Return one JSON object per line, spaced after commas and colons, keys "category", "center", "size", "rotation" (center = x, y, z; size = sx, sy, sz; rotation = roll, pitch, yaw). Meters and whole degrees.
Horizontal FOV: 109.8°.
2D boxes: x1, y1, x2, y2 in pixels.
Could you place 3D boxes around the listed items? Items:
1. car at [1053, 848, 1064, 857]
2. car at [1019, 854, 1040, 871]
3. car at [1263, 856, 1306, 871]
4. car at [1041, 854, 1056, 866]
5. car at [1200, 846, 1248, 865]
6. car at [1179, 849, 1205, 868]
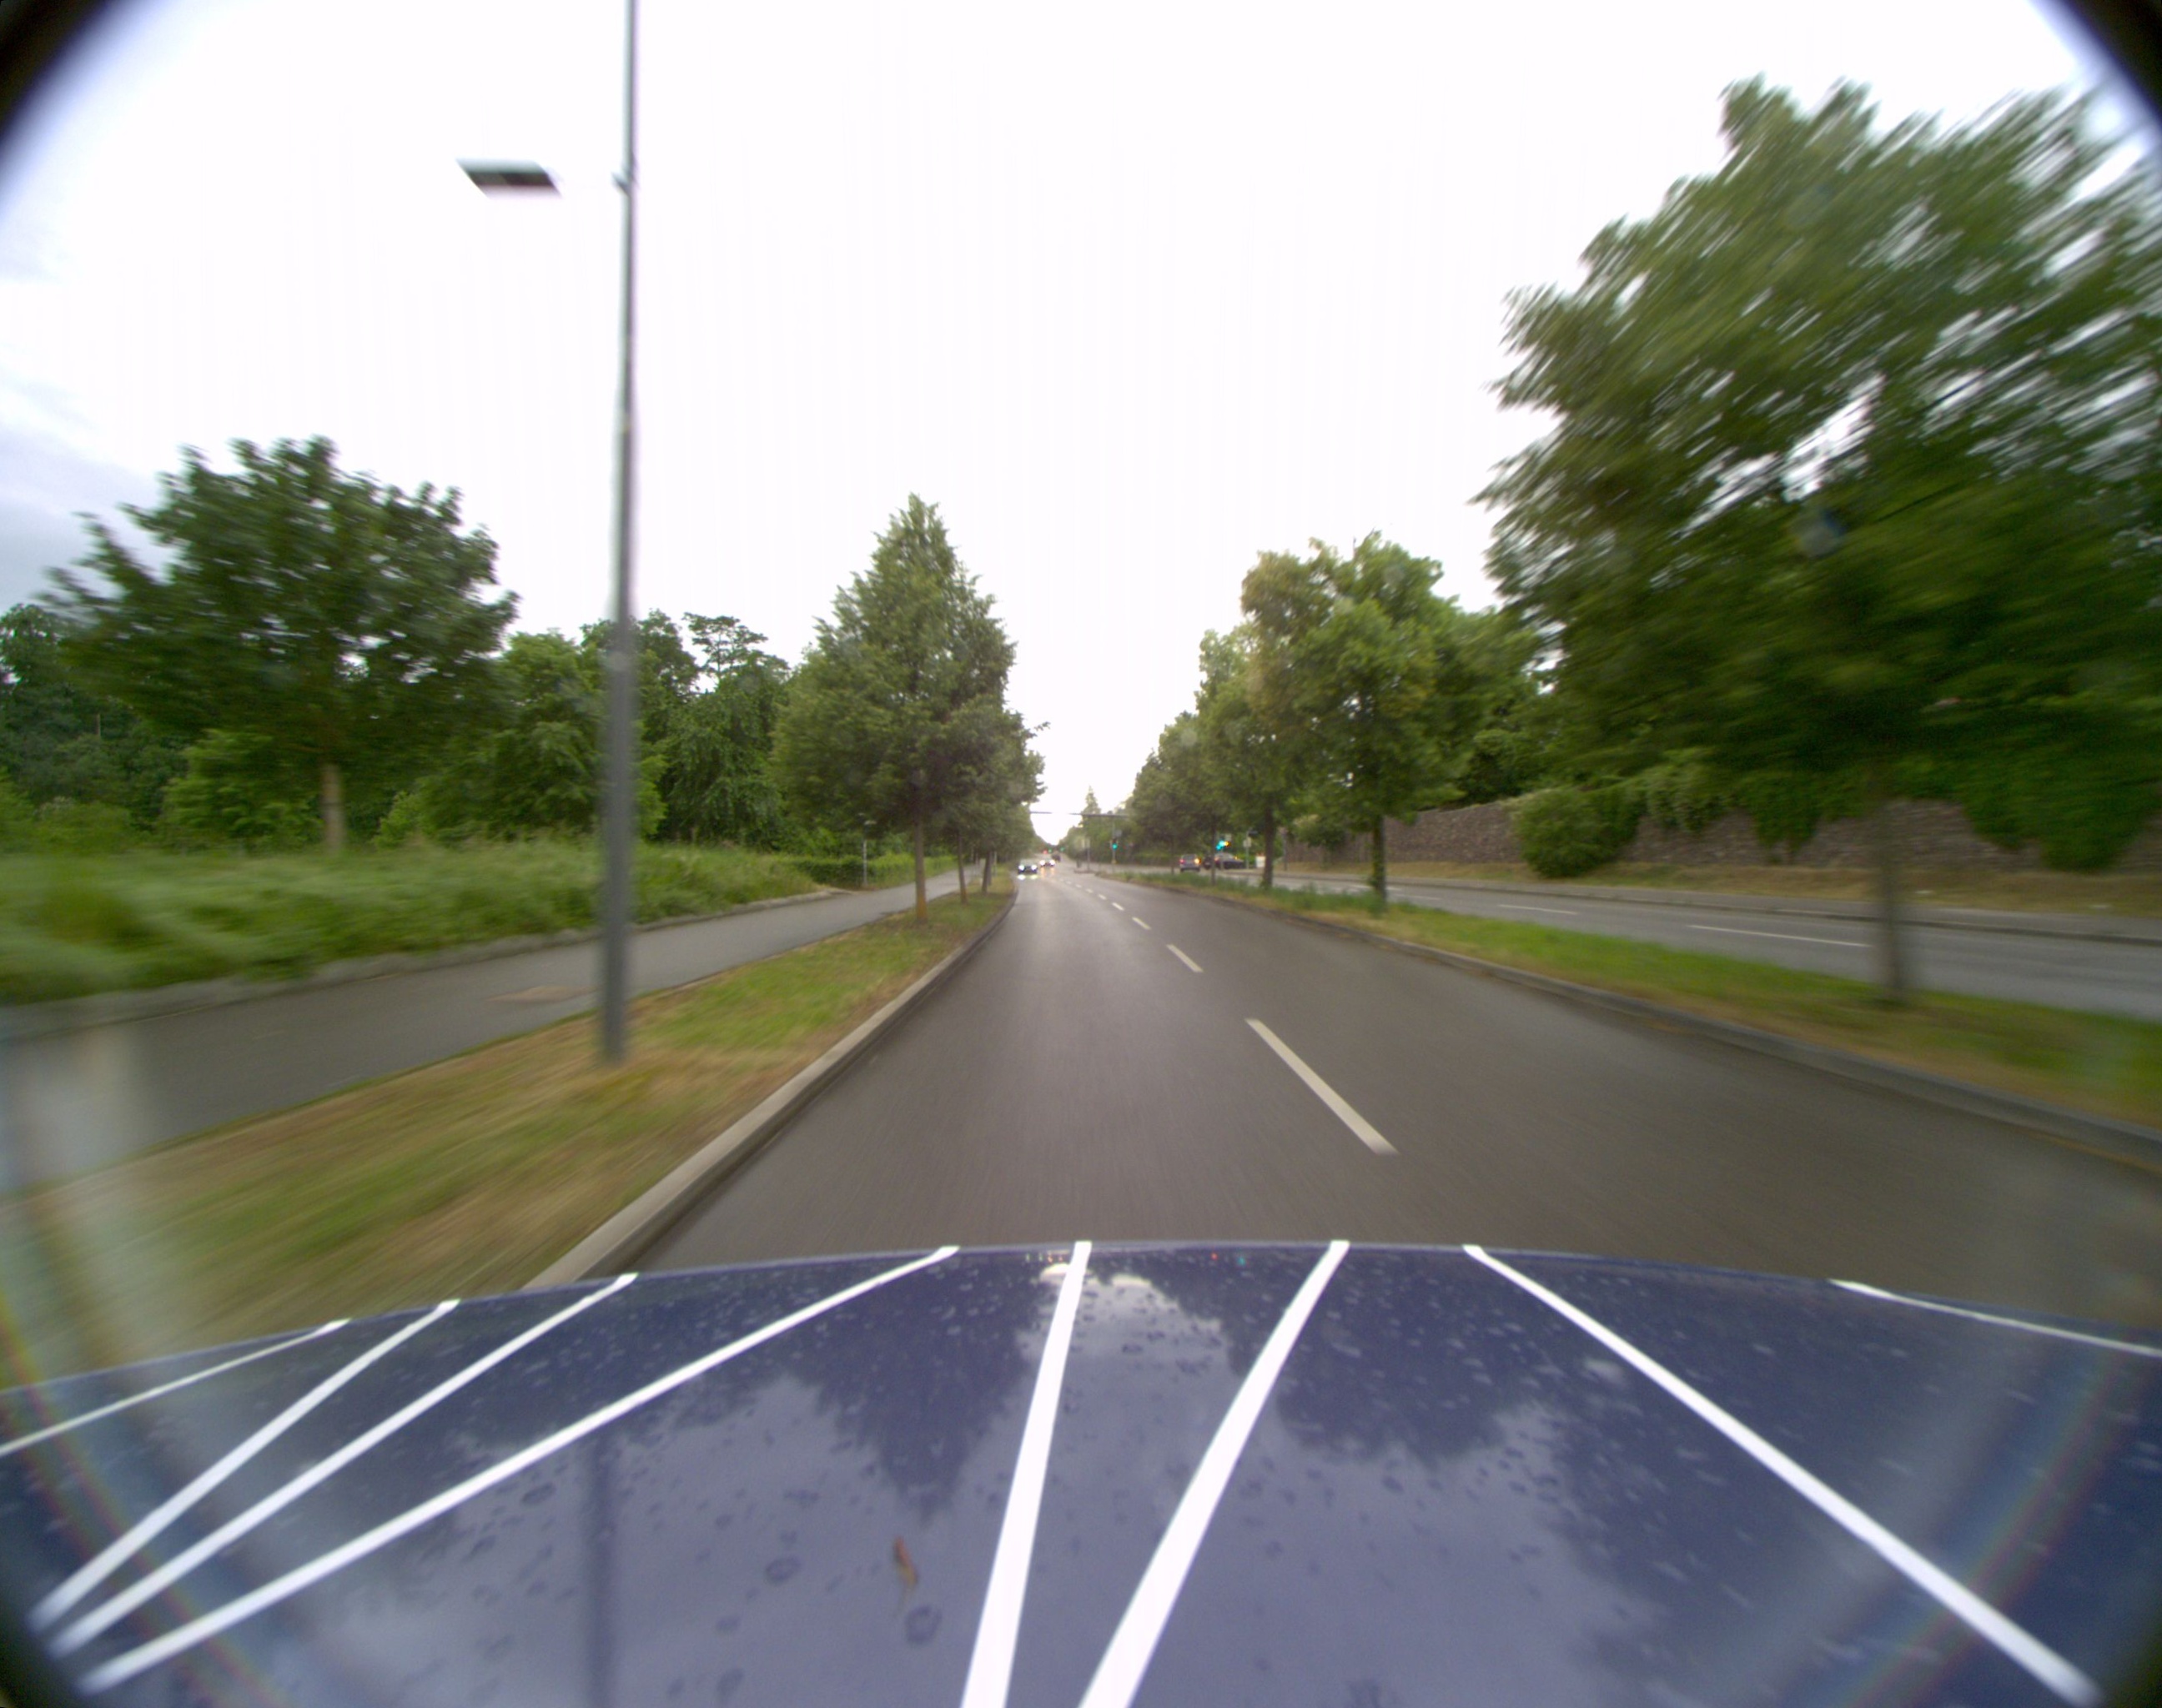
{"category": "car", "center": [-4.918, -0.353, 167.617], "size": [2.019, 1.908, 5.092], "rotation": [-1, 0, -5]}
{"category": "car", "center": [-5.015, 0.789, 73.905], "size": [1.825, 1.547, 3.997], "rotation": [-1, 1, -6]}
{"category": "car", "center": [20.990, 0.964, 78.387], "size": [3.997, 1.464, 1.692], "rotation": [0, -2, 0]}
{"category": "car", "center": [-4.535, 0.811, 104.265], "size": [1.825, 1.547, 3.997], "rotation": [-1, 1, -6]}
{"category": "car", "center": [13.538, 0.163, 71.947], "size": [4.775, 1.586, 1.882], "rotation": [-3, 1, -41]}
{"category": "car", "center": [9.674, 0.387, 66.019], "size": [1.688, 1.530, 2.920], "rotation": [-1, -1, 19]}
